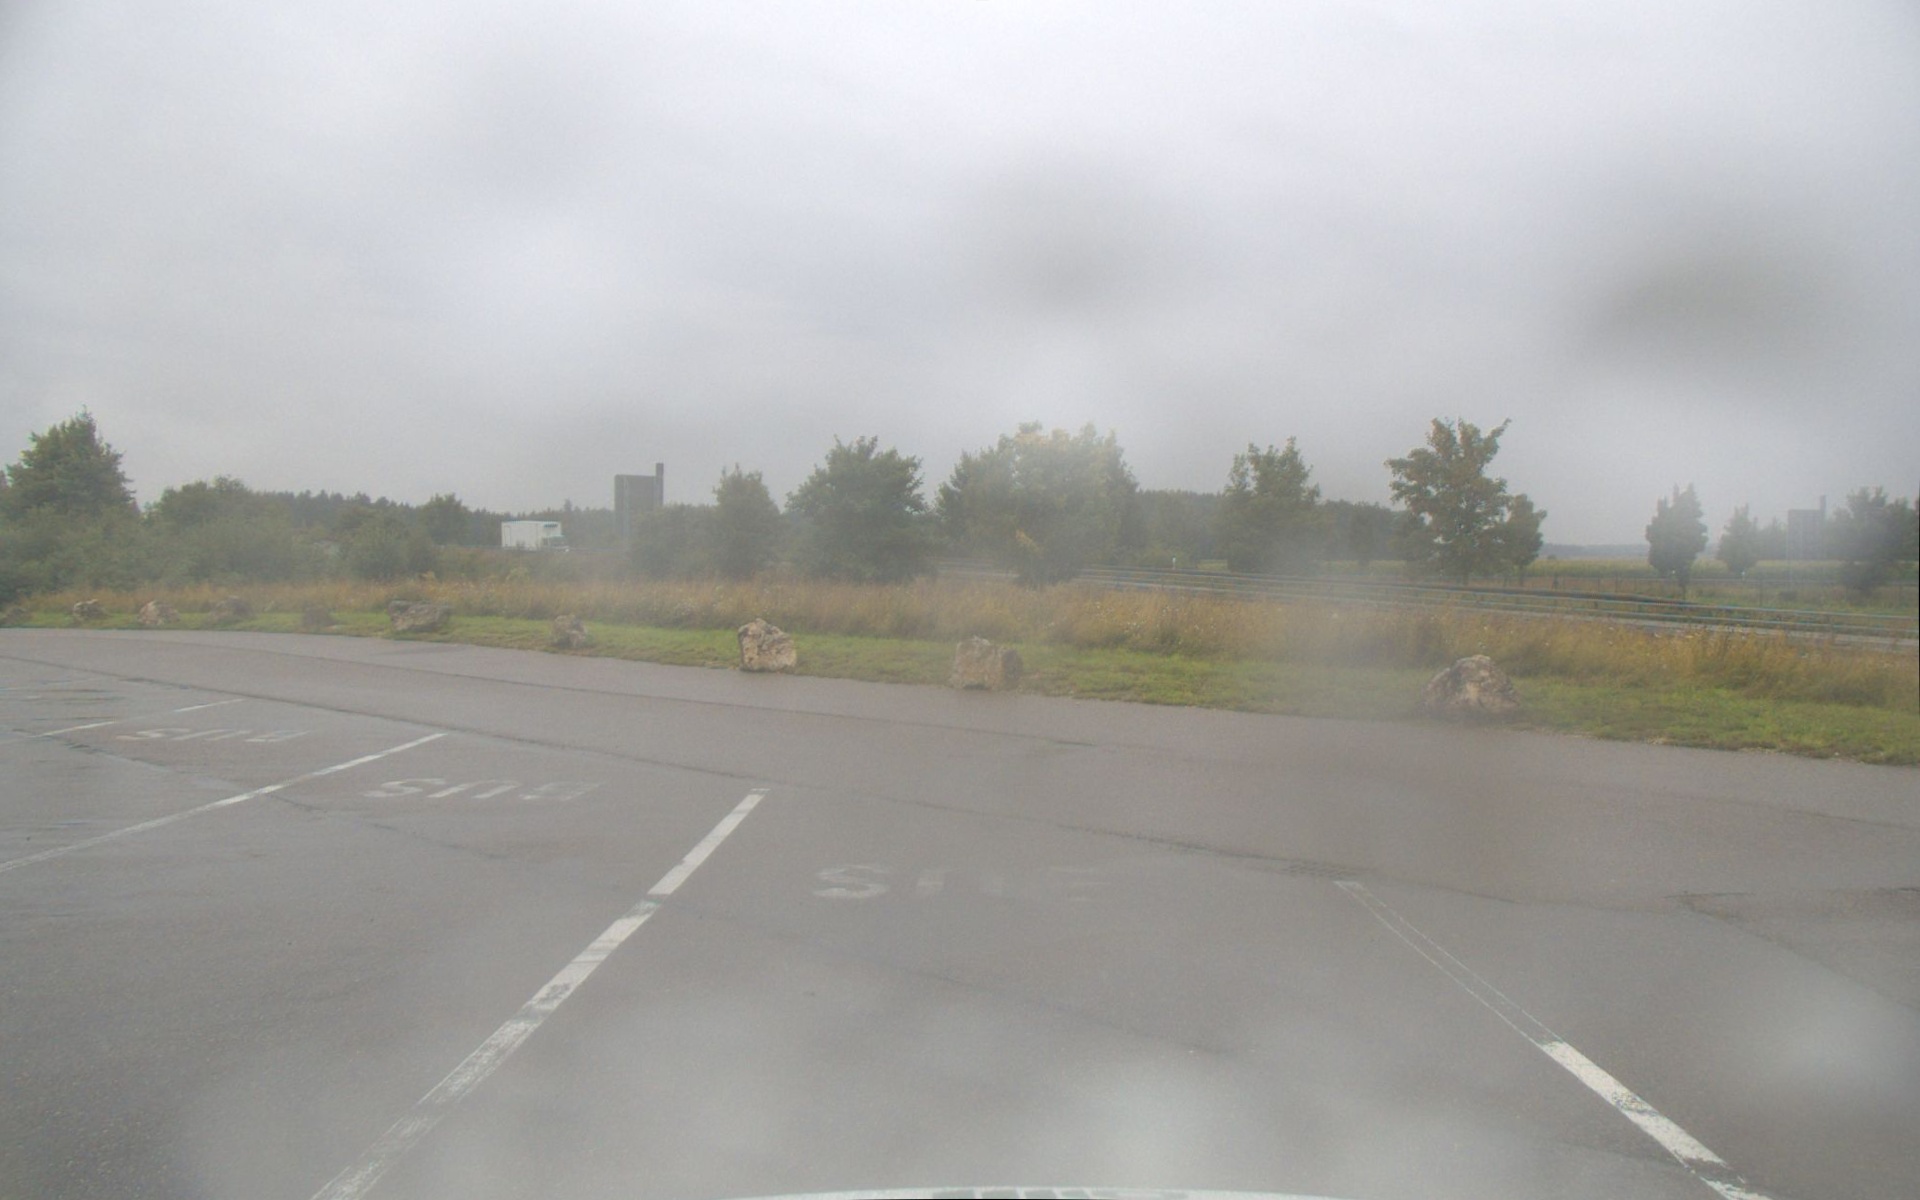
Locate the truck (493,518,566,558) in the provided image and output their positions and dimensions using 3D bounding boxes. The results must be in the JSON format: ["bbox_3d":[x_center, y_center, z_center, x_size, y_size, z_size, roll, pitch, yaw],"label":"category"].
[{"bbox_3d":[-39.476,-5.652,151.448,7.931,3.450,2.729,2,1,44],"label":"truck"}]
